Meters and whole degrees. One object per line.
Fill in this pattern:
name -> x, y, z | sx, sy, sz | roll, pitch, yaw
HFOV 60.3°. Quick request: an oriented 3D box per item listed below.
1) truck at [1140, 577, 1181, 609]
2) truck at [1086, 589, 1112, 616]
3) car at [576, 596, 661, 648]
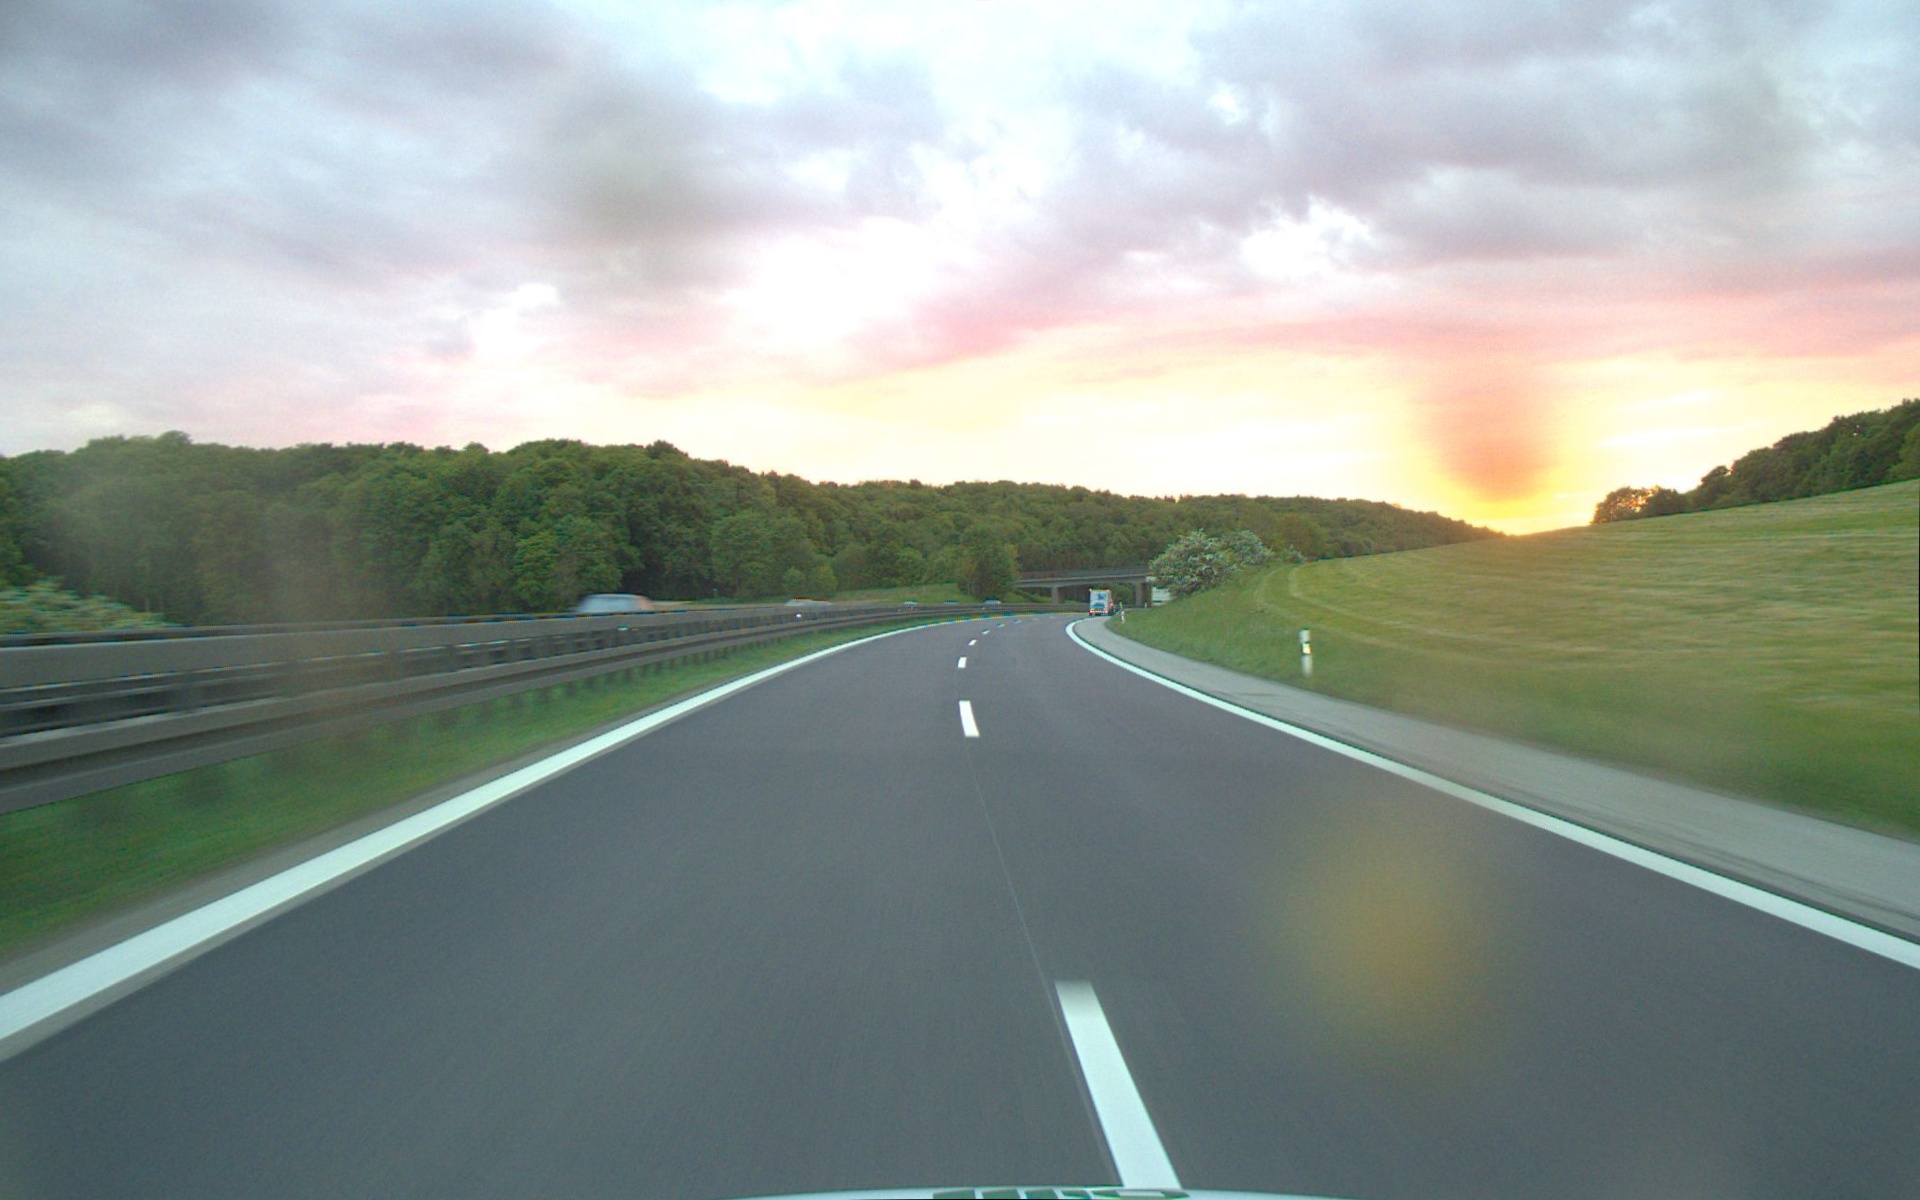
truck -> 29.272, -0.948, 240.273 | 3.874, 4.362, 14.333 | -1, 0, 15
truck -> 14.364, 0.238, 170.850 | 2.227, 2.711, 5.241 | -2, 0, 9
car -> -10.051, 0.612, 48.912 | 1.572, 1.417, 4.247 | -1, 0, 0
